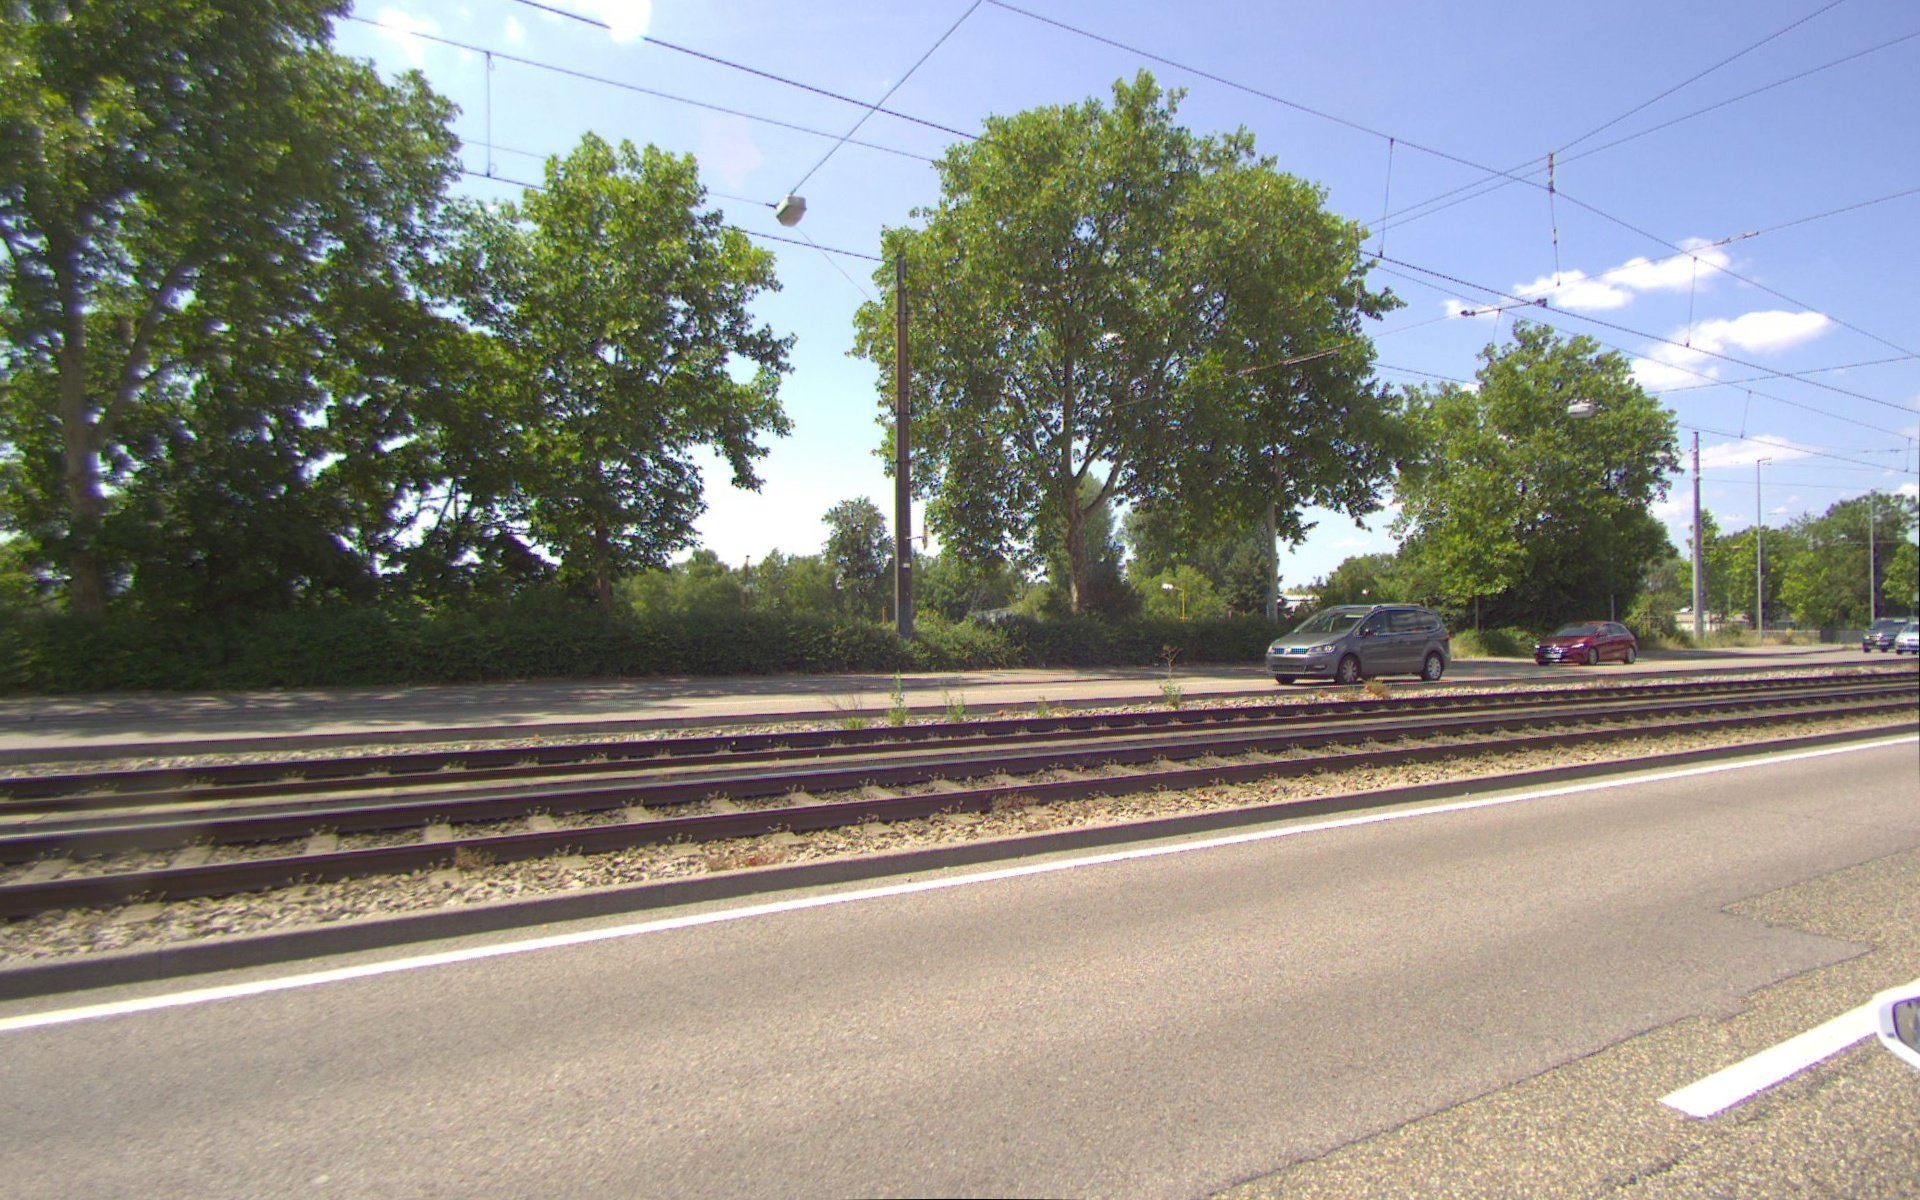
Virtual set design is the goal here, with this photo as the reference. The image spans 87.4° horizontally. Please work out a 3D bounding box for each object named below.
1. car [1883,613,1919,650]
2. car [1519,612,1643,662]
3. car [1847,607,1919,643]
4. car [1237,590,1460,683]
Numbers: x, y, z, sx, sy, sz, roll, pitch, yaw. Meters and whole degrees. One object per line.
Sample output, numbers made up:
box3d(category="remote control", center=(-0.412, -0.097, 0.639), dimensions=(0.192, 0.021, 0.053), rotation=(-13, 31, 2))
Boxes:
box3d(category="car", center=(43.176, 1.384, 44.962), dimensions=(4.013, 1.604, 1.677), rotation=(1, -3, -32))
box3d(category="car", center=(22.050, 1.290, 35.633), dimensions=(4.418, 1.692, 1.983), rotation=(1, -2, -32))
box3d(category="car", center=(50.564, 1.362, 54.836), dimensions=(4.917, 1.854, 1.982), rotation=(1, -3, -34))
box3d(category="car", center=(8.566, 0.792, 22.019), dimensions=(4.913, 1.854, 1.983), rotation=(1, -3, -32))
